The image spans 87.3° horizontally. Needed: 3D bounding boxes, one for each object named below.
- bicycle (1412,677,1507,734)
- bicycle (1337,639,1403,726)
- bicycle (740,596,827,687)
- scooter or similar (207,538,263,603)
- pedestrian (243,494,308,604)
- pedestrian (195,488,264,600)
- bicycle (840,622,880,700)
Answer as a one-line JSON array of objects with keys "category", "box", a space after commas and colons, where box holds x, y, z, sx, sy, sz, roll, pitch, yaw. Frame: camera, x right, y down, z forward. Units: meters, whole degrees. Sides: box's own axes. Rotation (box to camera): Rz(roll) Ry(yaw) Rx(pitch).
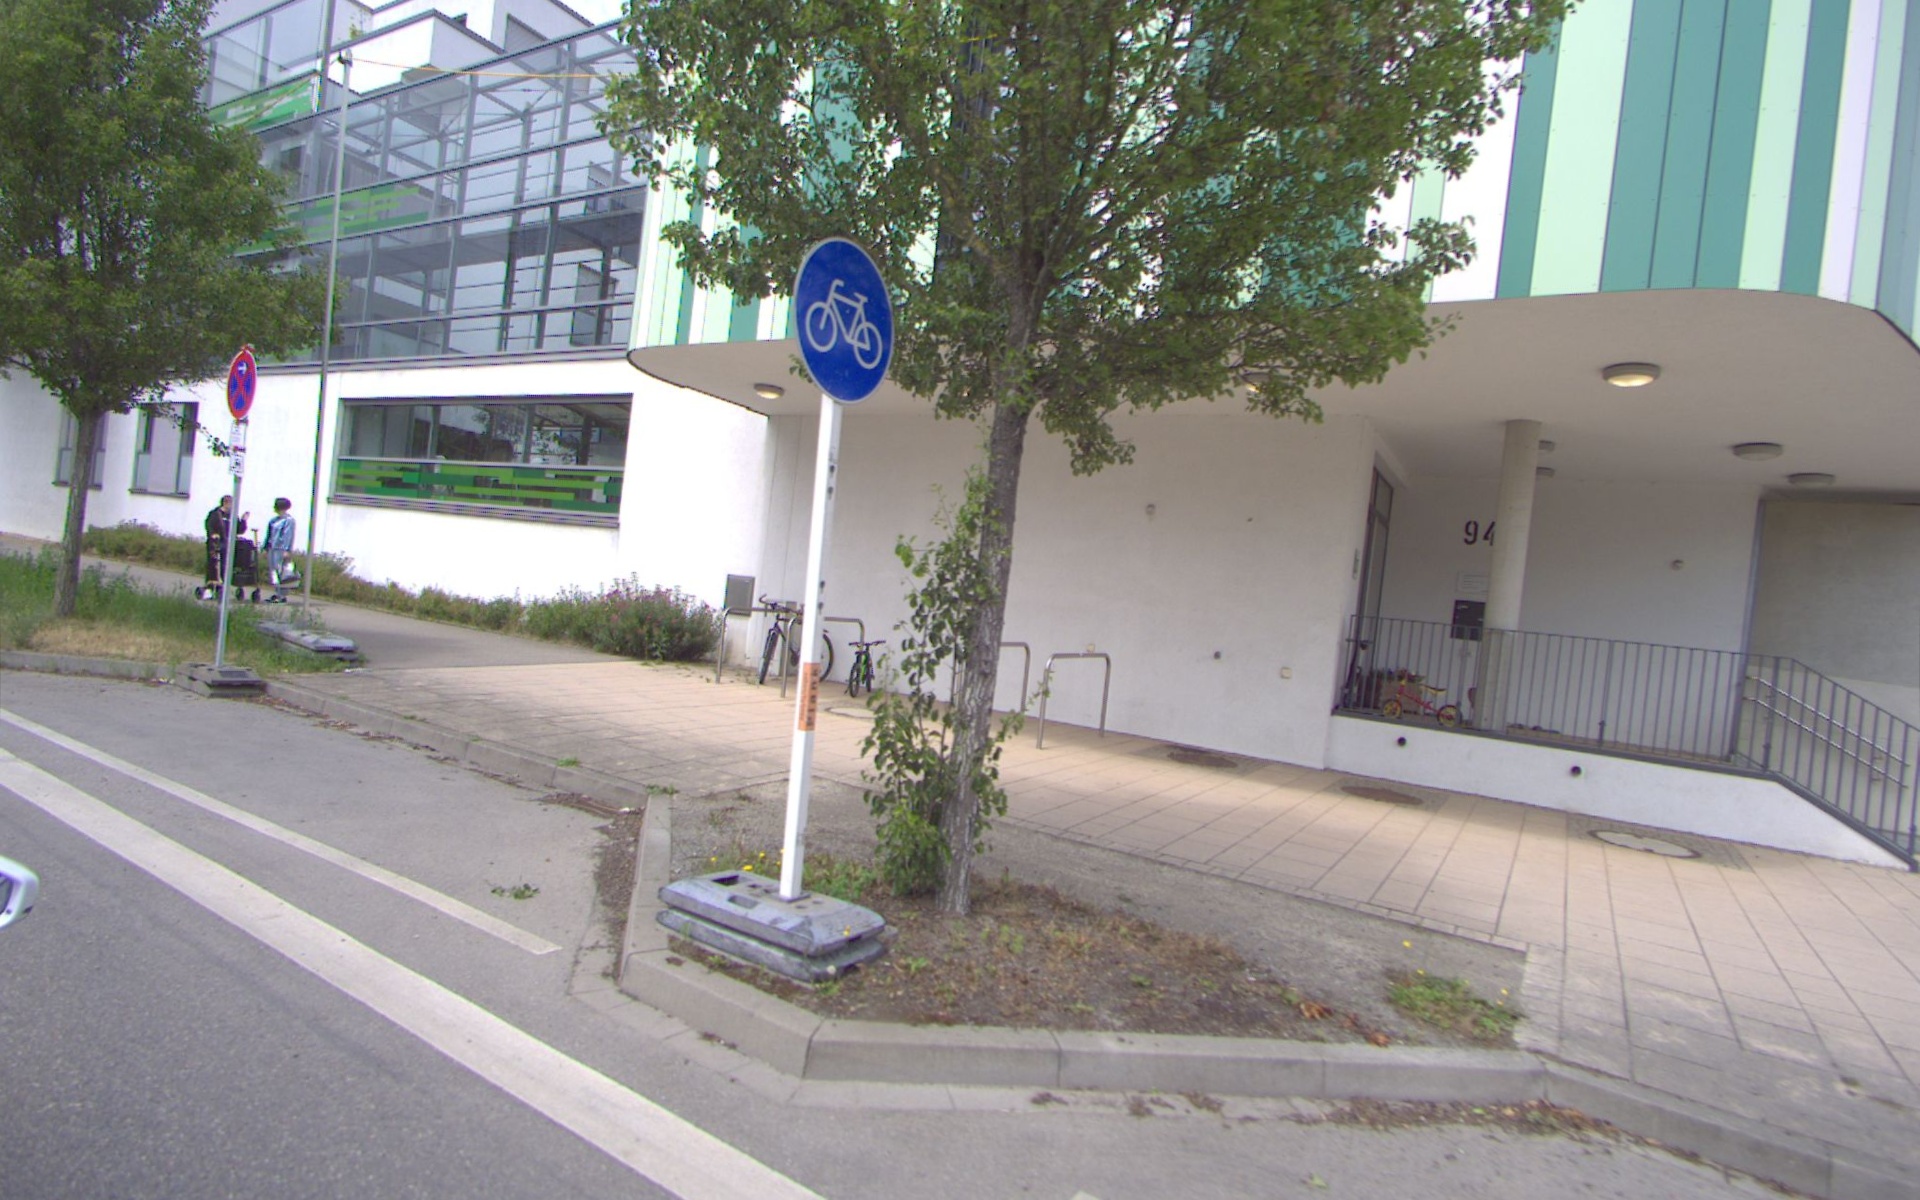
[{"category": "bicycle", "box": [5.147, 1.076, 10.372, 0.787, 0.458, 0.306, 7, 2, 38]}, {"category": "bicycle", "box": [4.372, 0.870, 10.698, 0.302, 0.852, 1.021, 8, 1, 37]}, {"category": "bicycle", "box": [-2.200, 0.515, 12.702, 0.301, 1.059, 1.469, 7, 1, 19]}, {"category": "scooter or similar", "box": [-11.209, -0.460, 15.552, 0.670, 0.917, 0.422, 7, 2, 31]}, {"category": "pedestrian", "box": [-11.003, -0.822, 16.184, 0.597, 1.676, 0.550, 7, 2, 31]}, {"category": "pedestrian", "box": [-11.490, -0.875, 15.828, 0.543, 1.676, 0.605, 7, 2, 31]}, {"category": "bicycle", "box": [-1.216, 0.727, 12.309, 0.301, 0.852, 1.024, 6, 1, -1]}]
